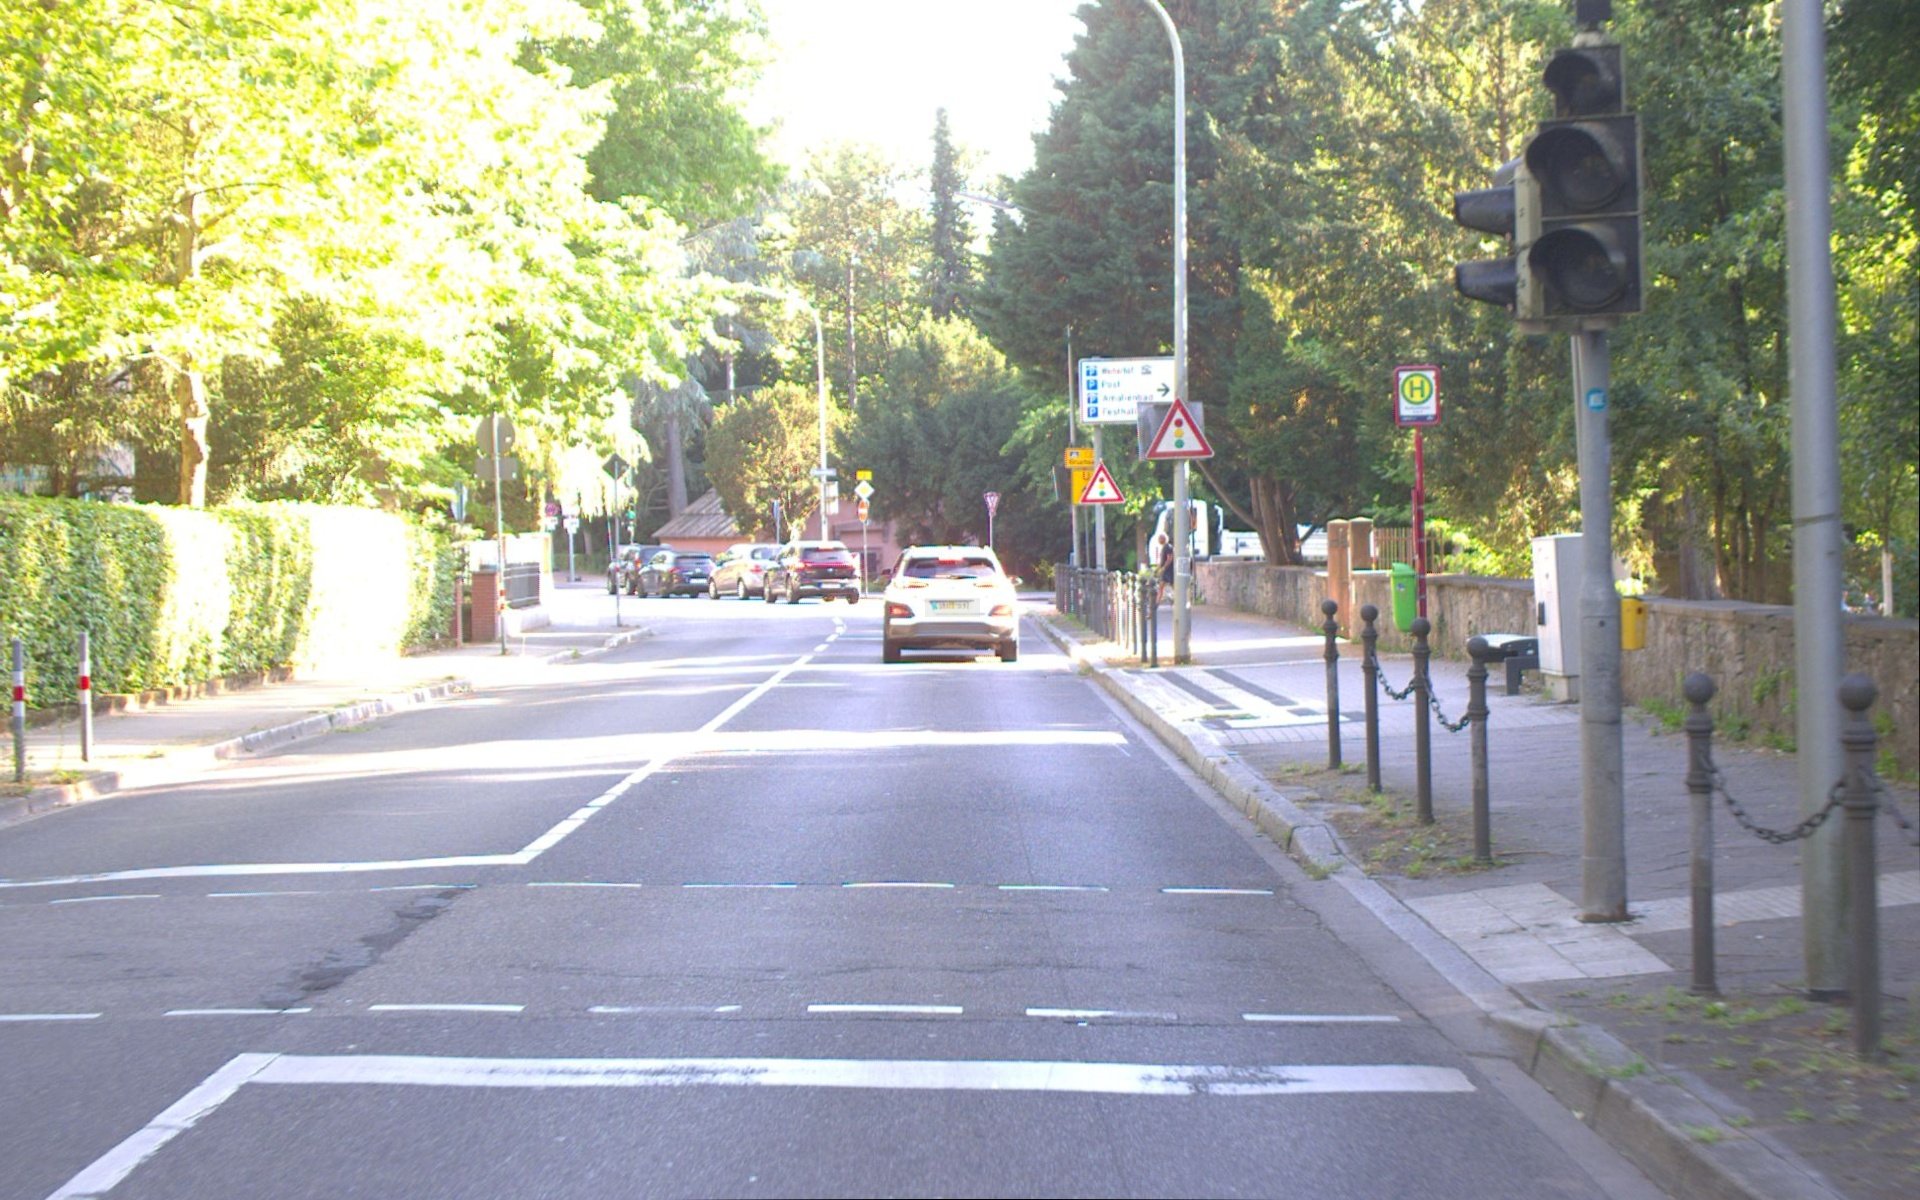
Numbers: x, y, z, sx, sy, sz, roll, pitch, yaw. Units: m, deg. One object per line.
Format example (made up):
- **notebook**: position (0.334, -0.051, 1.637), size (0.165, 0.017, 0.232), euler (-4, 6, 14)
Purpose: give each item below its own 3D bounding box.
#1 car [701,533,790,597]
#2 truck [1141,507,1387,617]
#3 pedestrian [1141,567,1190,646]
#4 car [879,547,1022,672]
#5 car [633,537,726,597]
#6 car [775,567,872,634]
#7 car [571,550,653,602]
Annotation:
- **car**: position (-6.063, -0.990, 96.824), size (1.831, 1.735, 4.001), euler (1, 1, -14)
- **truck**: position (8.322, -1.049, 94.352), size (6.588, 2.885, 2.433), euler (1, 1, 5)
- **pedestrian**: position (4.819, 0.142, 80.570), size (0.940, 1.820, 0.554), euler (0, 2, -38)
- **car**: position (-0.149, 0.090, 47.280), size (1.820, 1.568, 4.000), euler (3, 1, -1)
- **car**: position (-8.408, -0.994, 102.714), size (1.831, 1.656, 4.001), euler (2, 1, -18)
- **car**: position (-3.556, -0.004, 89.038), size (1.831, 1.656, 4.001), euler (1, 1, -12)
- **car**: position (-11.475, -0.808, 113.109), size (1.831, 1.656, 4.001), euler (1, 1, -19)
